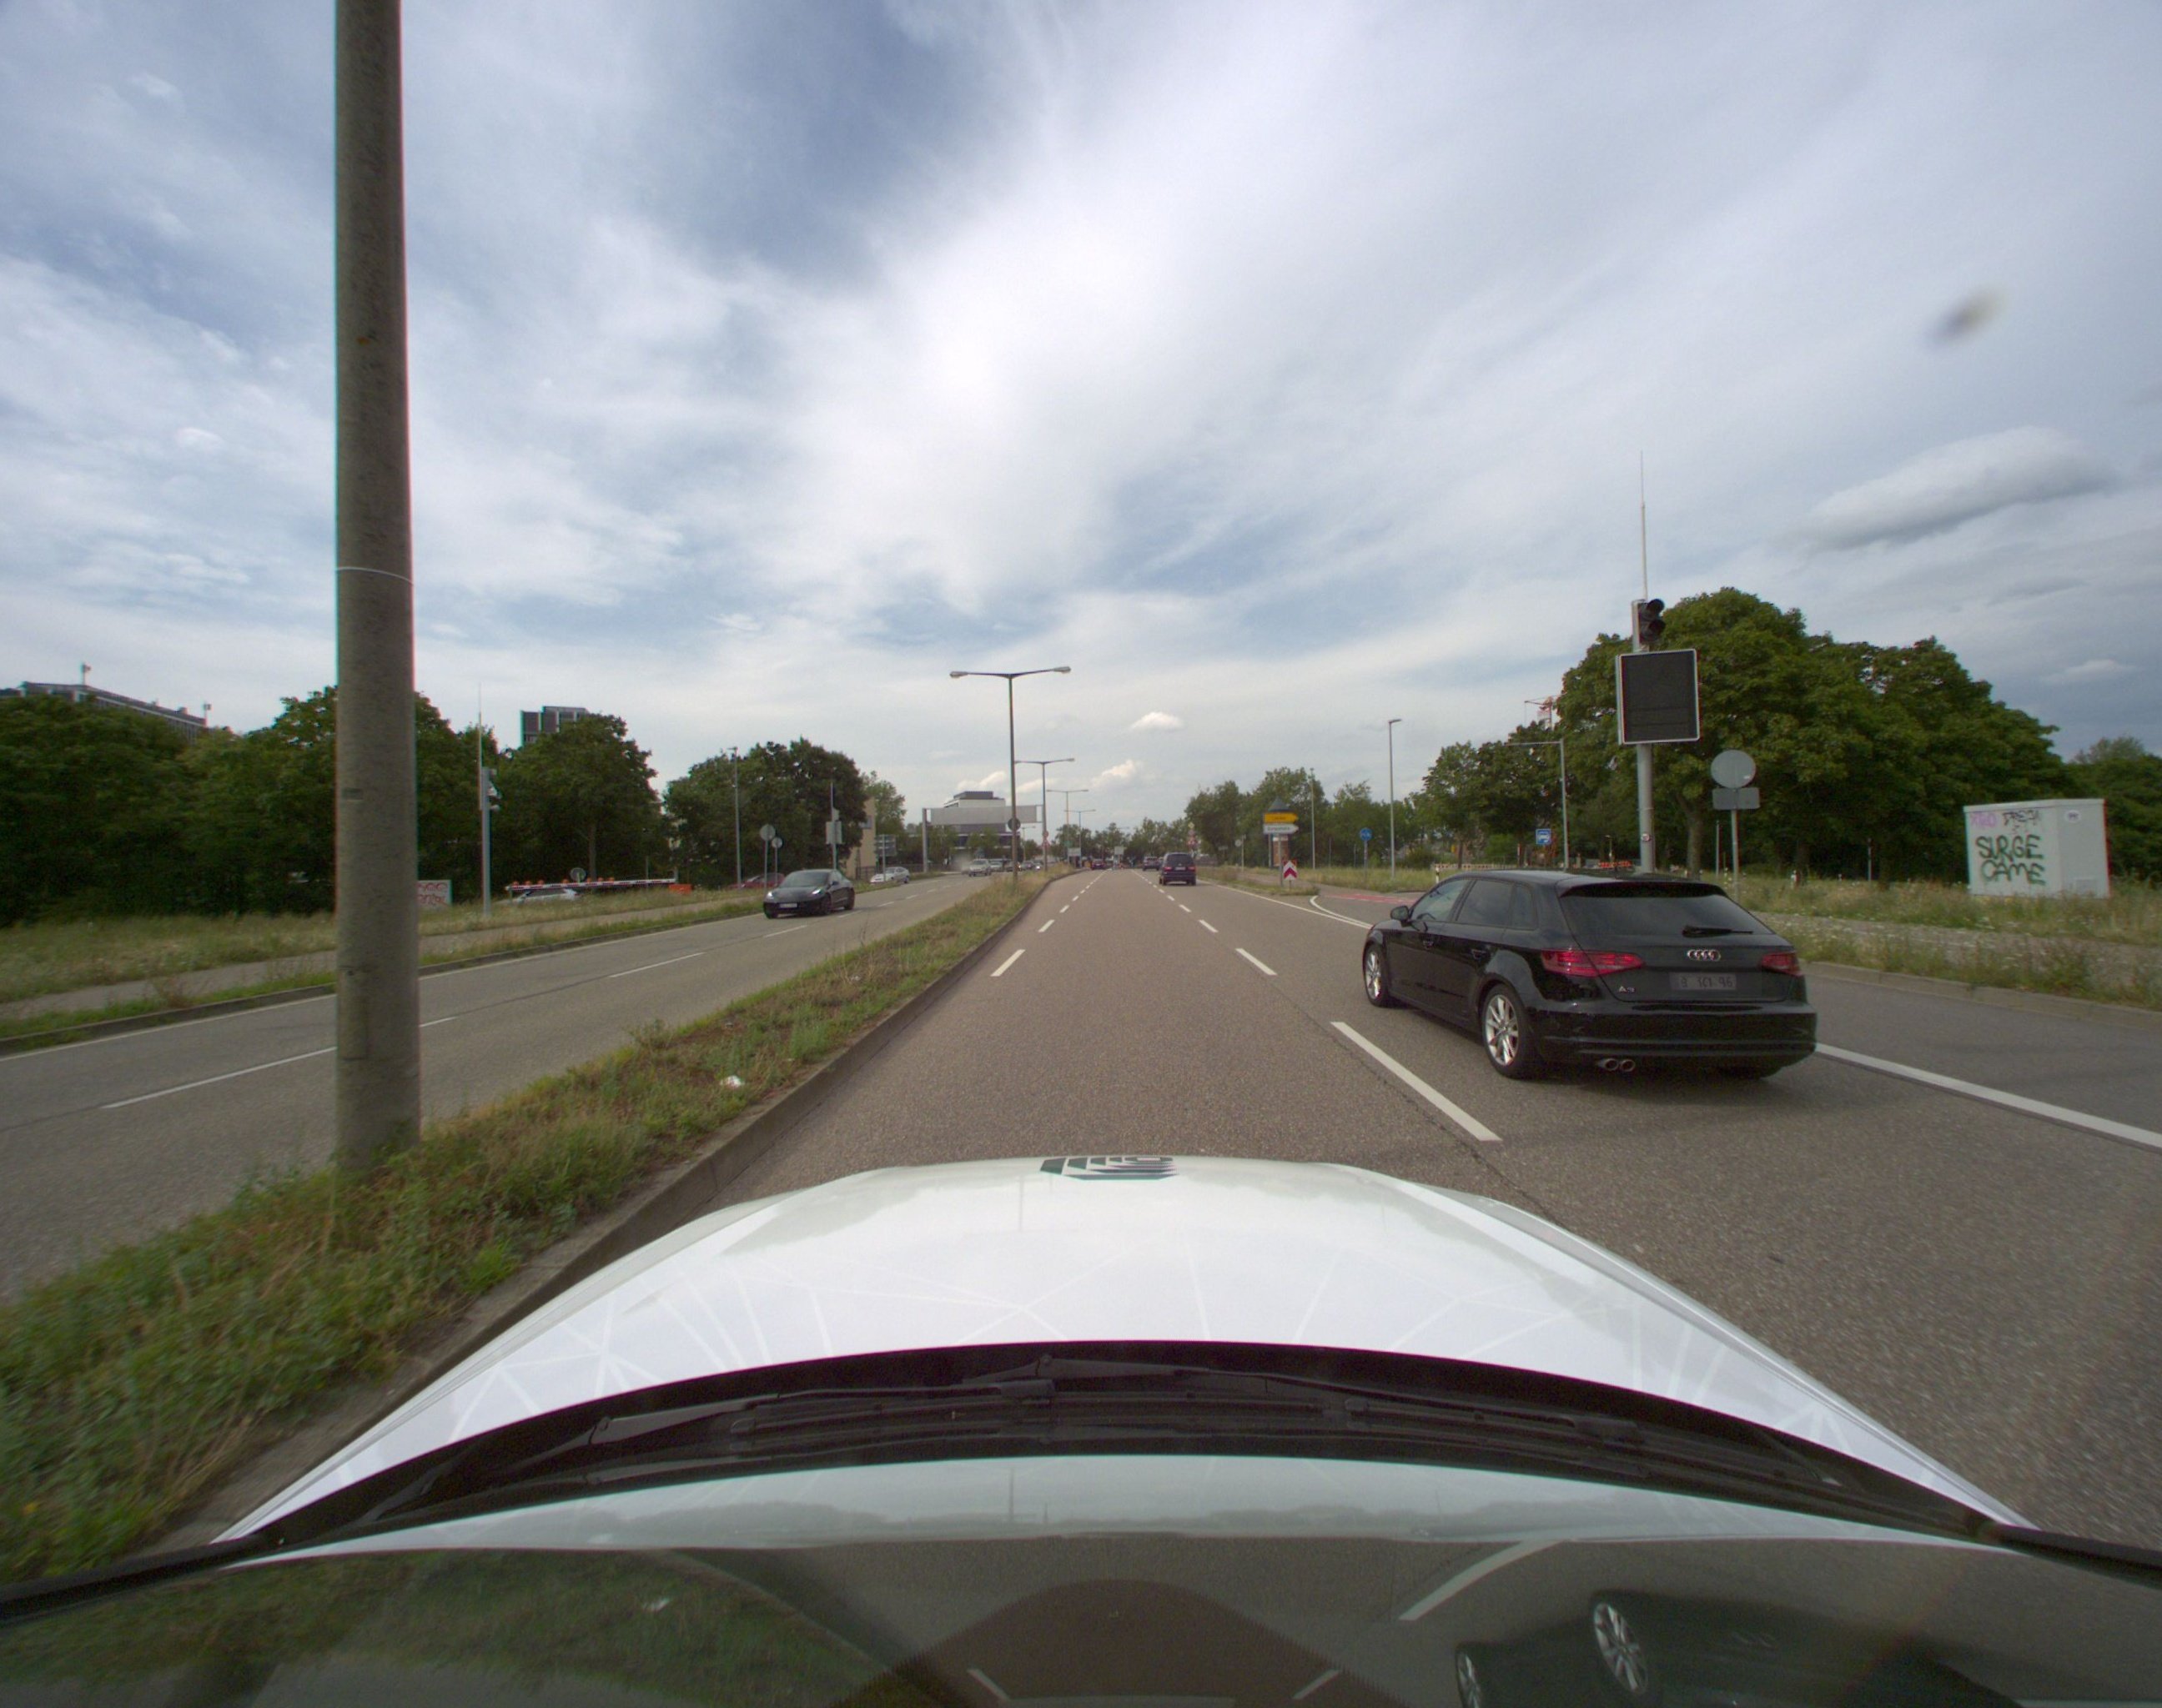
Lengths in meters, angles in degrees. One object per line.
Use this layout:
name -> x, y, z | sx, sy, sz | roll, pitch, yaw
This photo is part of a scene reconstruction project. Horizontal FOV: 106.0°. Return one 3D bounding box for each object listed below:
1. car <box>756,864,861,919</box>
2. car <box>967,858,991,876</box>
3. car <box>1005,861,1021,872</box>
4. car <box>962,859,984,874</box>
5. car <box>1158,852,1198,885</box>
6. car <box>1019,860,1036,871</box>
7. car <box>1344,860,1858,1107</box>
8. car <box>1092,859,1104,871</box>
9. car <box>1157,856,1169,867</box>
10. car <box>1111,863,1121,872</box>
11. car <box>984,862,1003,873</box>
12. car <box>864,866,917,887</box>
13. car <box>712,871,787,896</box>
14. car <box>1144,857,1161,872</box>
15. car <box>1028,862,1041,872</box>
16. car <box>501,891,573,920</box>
car -> -8.558, 1.129, 26.027 | 1.739, 1.475, 4.565 | -2, 0, 0
car -> -9.956, 1.227, 79.535 | 1.740, 1.598, 4.563 | -2, 0, -1
car -> -10.631, 1.975, 127.686 | 1.786, 1.525, 4.596 | -3, -1, 2
car -> -12.325, 1.402, 93.205 | 1.659, 1.419, 4.095 | -3, 1, 2
car -> 5.144, 0.754, 43.732 | 1.724, 1.653, 4.116 | -1, 0, 1
car -> -7.484, 1.672, 114.382 | 1.657, 1.425, 4.526 | -3, -1, 6
car -> 3.686, 0.770, 6.793 | 1.724, 1.395, 4.116 | -1, 0, 1
car -> 2.467, 1.596, 119.678 | 1.724, 1.653, 4.116 | -1, 0, 1
car -> 11.656, 1.036, 115.648 | 1.501, 1.447, 3.140 | 0, 0, 1
car -> 6.812, 2.606, 158.891 | 1.726, 1.526, 4.112 | -1, 0, -2
car -> -11.914, 1.809, 110.847 | 1.657, 1.419, 4.320 | -4, -1, 6
car -> -14.932, 1.748, 64.218 | 1.730, 1.446, 4.485 | -2, 0, 22
car -> -21.180, 1.883, 52.114 | 1.497, 1.368, 4.206 | -2, 0, 37
car -> 8.083, 1.158, 92.330 | 1.724, 1.653, 4.116 | -1, 0, 1
car -> -8.167, 2.285, 143.464 | 1.786, 1.525, 4.190 | -3, -1, 2
car -> -28.841, 2.696, 43.211 | 3.025, 1.273, 1.257 | -2, 0, -42
